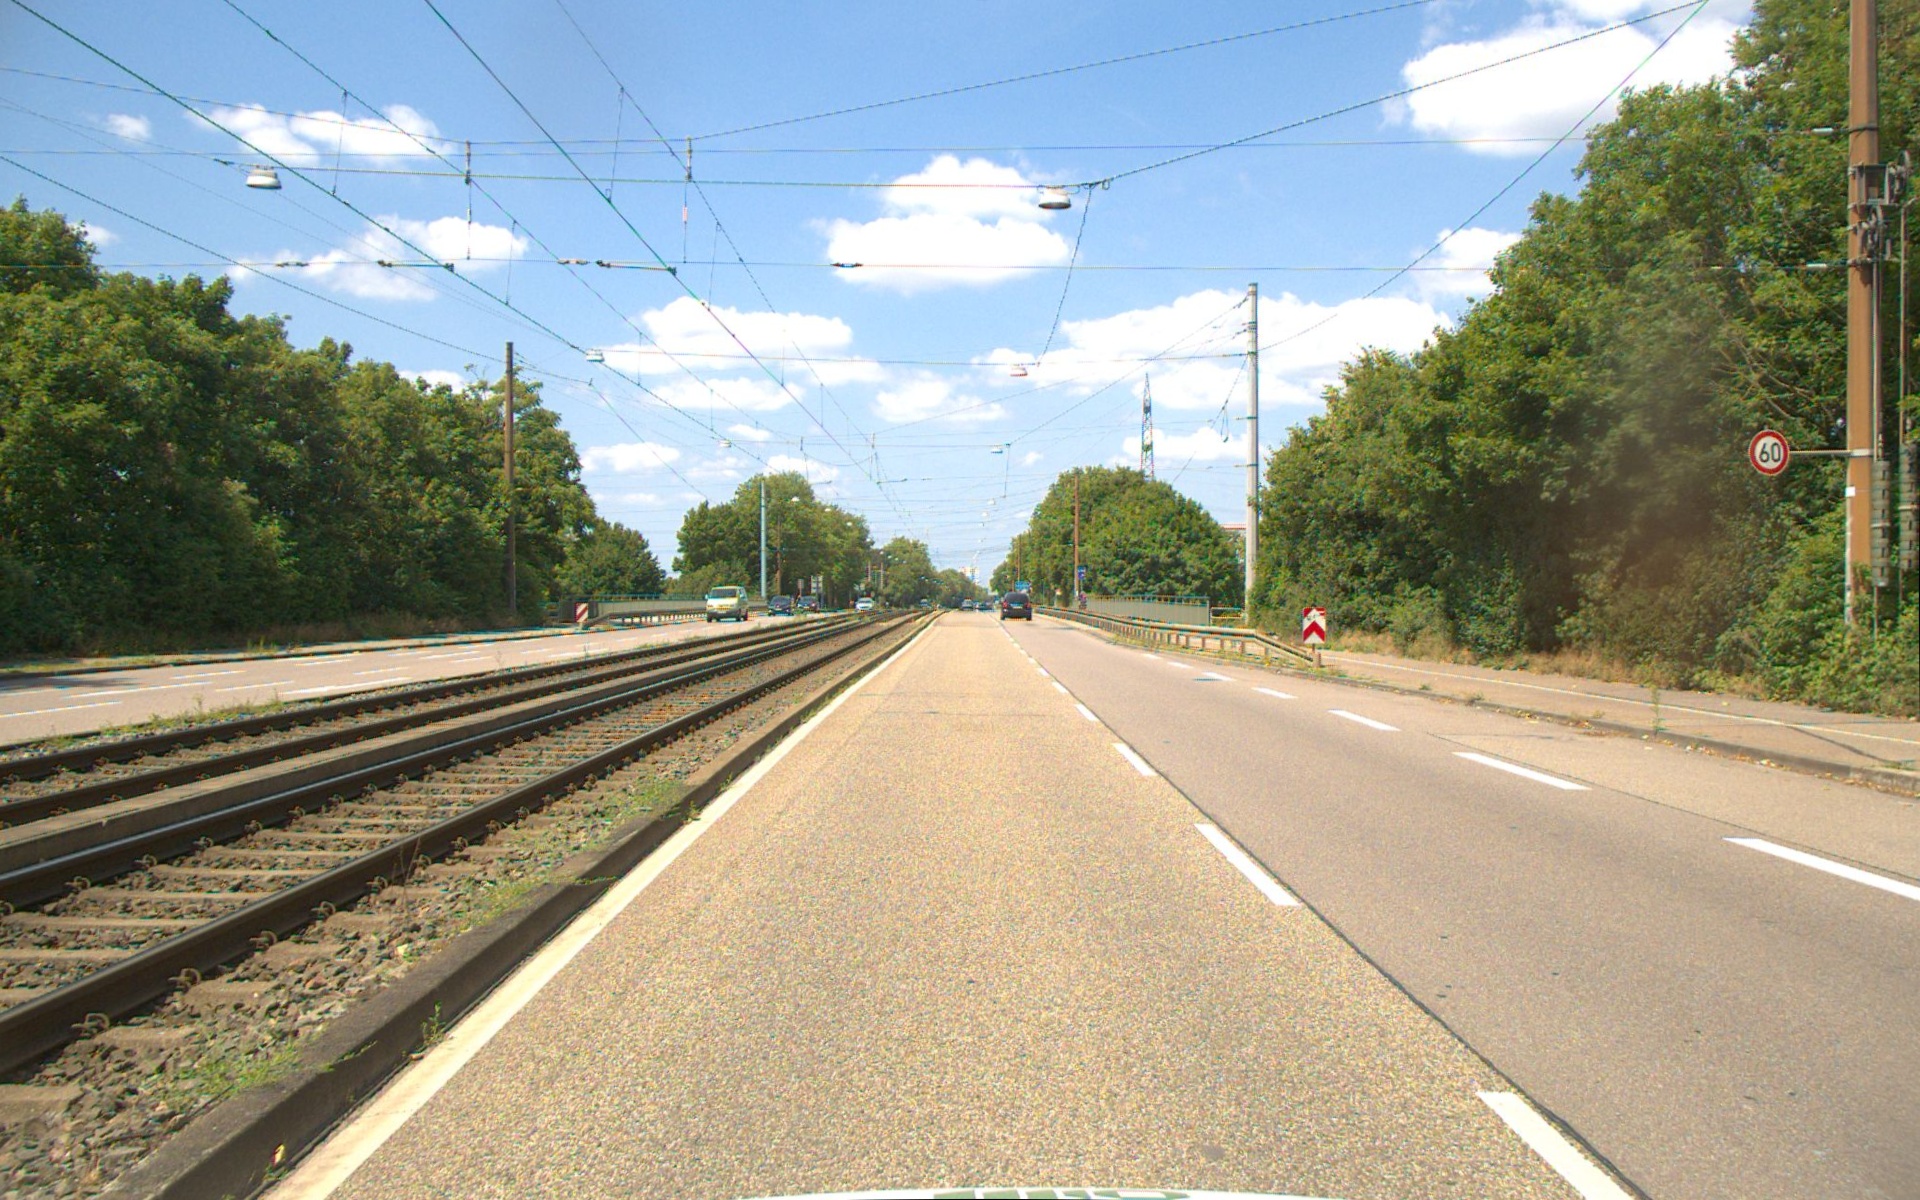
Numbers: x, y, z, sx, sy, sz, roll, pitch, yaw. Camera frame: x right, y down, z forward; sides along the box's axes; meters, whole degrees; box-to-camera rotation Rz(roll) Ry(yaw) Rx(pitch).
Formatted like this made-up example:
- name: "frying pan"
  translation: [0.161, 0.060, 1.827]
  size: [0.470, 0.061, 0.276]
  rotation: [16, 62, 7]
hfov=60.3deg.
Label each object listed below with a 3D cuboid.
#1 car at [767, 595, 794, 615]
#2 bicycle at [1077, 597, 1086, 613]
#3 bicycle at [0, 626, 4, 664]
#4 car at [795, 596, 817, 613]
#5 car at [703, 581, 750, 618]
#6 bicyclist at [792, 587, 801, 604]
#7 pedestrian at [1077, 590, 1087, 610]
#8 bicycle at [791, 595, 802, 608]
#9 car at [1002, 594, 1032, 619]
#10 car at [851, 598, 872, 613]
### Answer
- name: "car"
  translation: [-13.152, 0.360, 121.321]
  size: [1.531, 1.371, 3.929]
  rotation: [-1, 0, 1]
- name: "bicycle"
  translation: [8.463, 0.349, 115.248]
  size: [0.548, 1.042, 1.848]
  rotation: [0, -1, 0]
- name: "bicycle"
  translation: [-21.360, 0.987, 35.334]
  size: [0.574, 0.833, 2.069]
  rotation: [-1, 0, 2]
- name: "car"
  translation: [-13.101, 0.378, 141.044]
  size: [1.542, 1.424, 3.938]
  rotation: [0, 0, 0]
- name: "car"
  translation: [-12.850, -0.041, 91.385]
  size: [1.774, 1.959, 5.179]
  rotation: [-1, 0, 1]
- name: "bicyclist"
  translation: [-16.050, -0.428, 162.452]
  size: [0.747, 1.650, 0.838]
  rotation: [1, 0, 0]
- name: "pedestrian"
  translation: [8.479, -0.003, 115.315]
  size: [0.615, 1.398, 1.050]
  rotation: [0, -1, 0]
- name: "bicycle"
  translation: [-16.070, 0.140, 162.480]
  size: [0.839, 1.206, 2.062]
  rotation: [1, 0, 0]
- name: "car"
  translation: [3.274, 0.351, 95.168]
  size: [1.554, 1.366, 3.271]
  rotation: [0, 0, -1]
- name: "car"
  translation: [-9.805, 0.529, 164.760]
  size: [1.676, 1.445, 4.624]
  rotation: [-1, 0, 1]
